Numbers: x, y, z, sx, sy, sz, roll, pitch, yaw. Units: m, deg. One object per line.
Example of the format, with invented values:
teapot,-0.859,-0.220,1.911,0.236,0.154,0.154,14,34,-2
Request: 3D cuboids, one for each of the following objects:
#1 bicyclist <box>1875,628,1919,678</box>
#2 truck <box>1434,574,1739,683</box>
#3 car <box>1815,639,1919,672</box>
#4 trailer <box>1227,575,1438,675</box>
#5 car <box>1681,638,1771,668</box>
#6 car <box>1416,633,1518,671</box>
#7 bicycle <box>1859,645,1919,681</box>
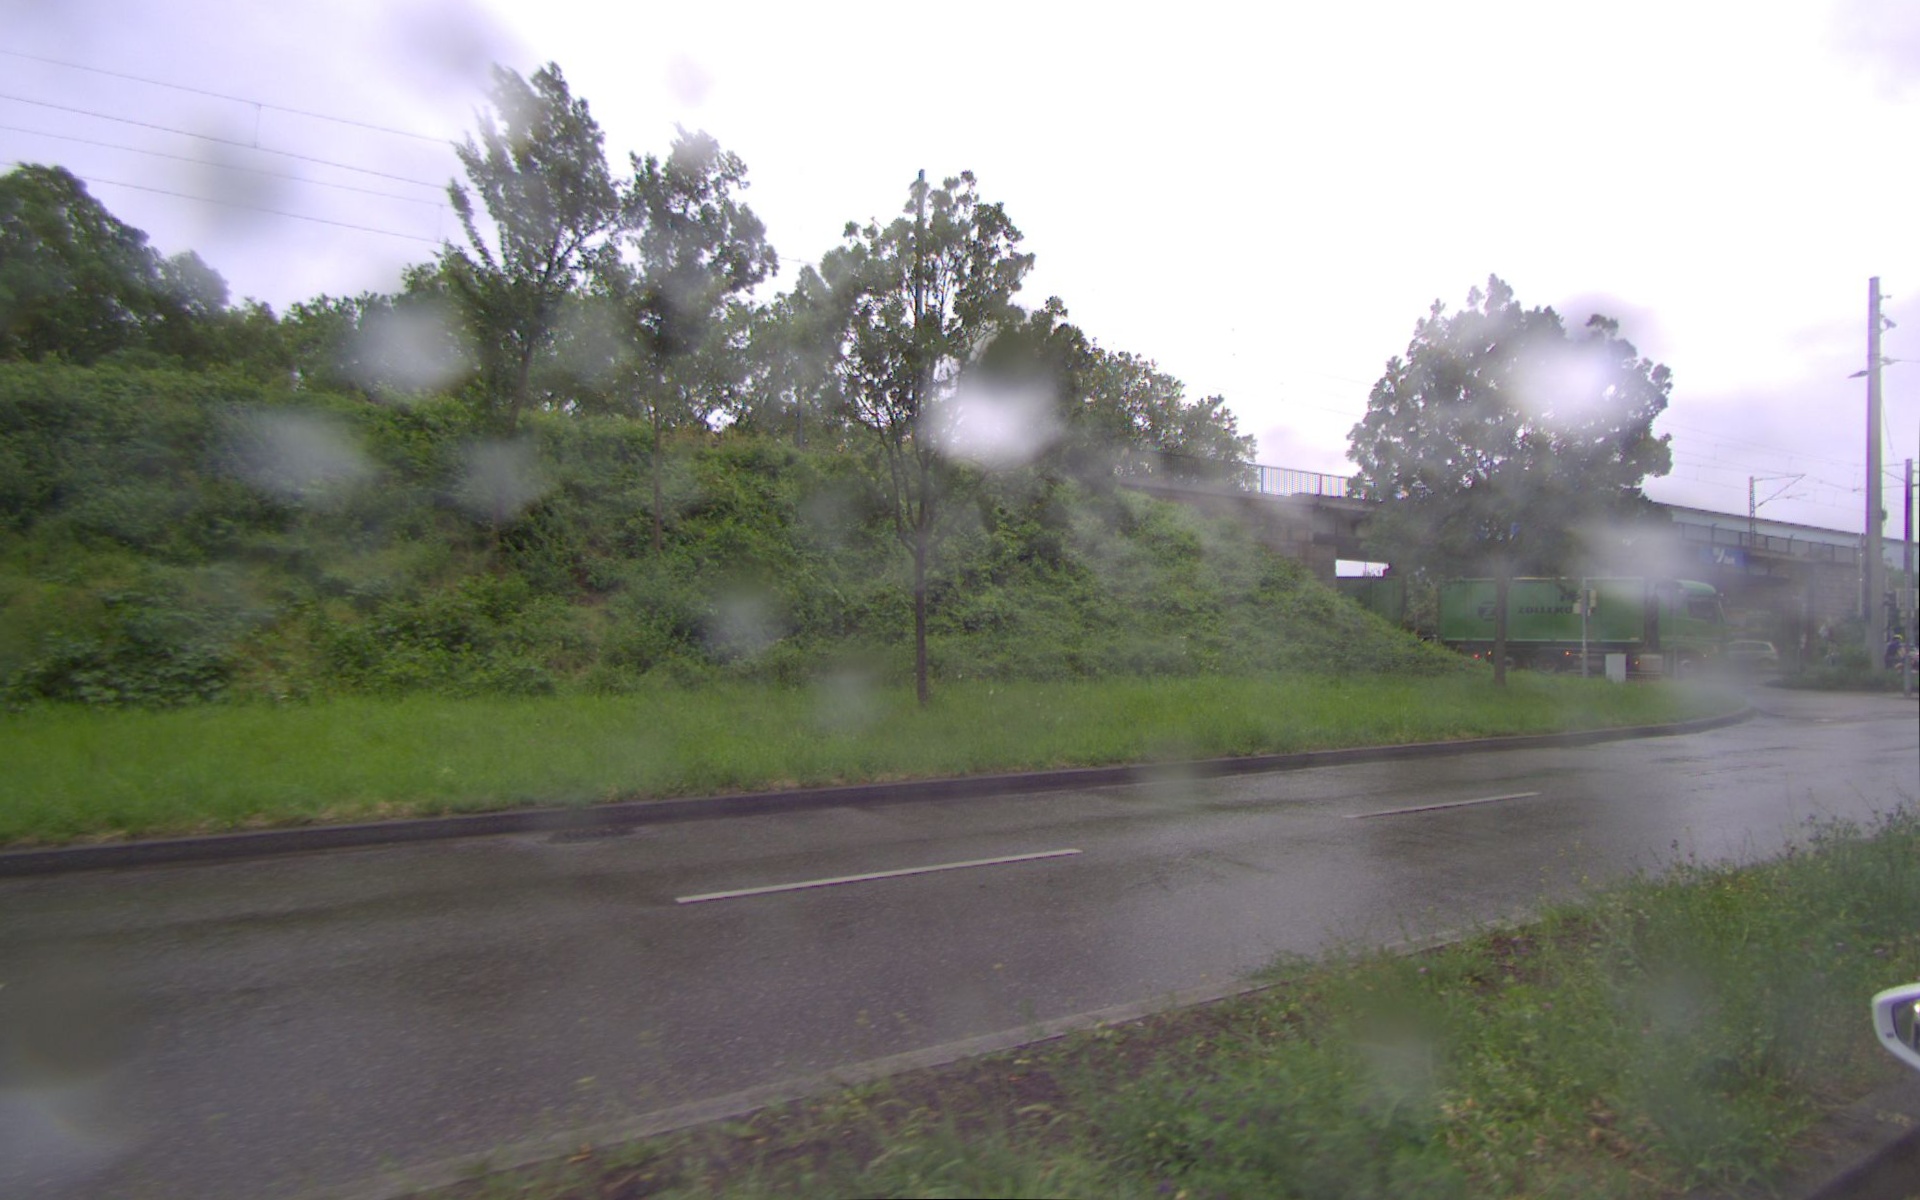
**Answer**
bicyclist,31.680,1.780,33.910,1.029,1.614,0.803,2,-1,33
truck,24.401,1.097,39.949,10.002,4.001,2.686,0,-2,25
car,44.744,2.713,49.503,1.797,1.537,3.848,2,-2,-44
trailer,16.110,1.051,43.706,8.358,4.039,2.688,0,-2,24
car,42.487,2.910,55.839,3.781,1.594,1.862,0,-2,32
car,22.366,2.267,44.504,3.923,1.594,1.999,0,-2,24
bicycle,31.675,2.124,33.910,1.880,1.109,0.693,1,0,34
